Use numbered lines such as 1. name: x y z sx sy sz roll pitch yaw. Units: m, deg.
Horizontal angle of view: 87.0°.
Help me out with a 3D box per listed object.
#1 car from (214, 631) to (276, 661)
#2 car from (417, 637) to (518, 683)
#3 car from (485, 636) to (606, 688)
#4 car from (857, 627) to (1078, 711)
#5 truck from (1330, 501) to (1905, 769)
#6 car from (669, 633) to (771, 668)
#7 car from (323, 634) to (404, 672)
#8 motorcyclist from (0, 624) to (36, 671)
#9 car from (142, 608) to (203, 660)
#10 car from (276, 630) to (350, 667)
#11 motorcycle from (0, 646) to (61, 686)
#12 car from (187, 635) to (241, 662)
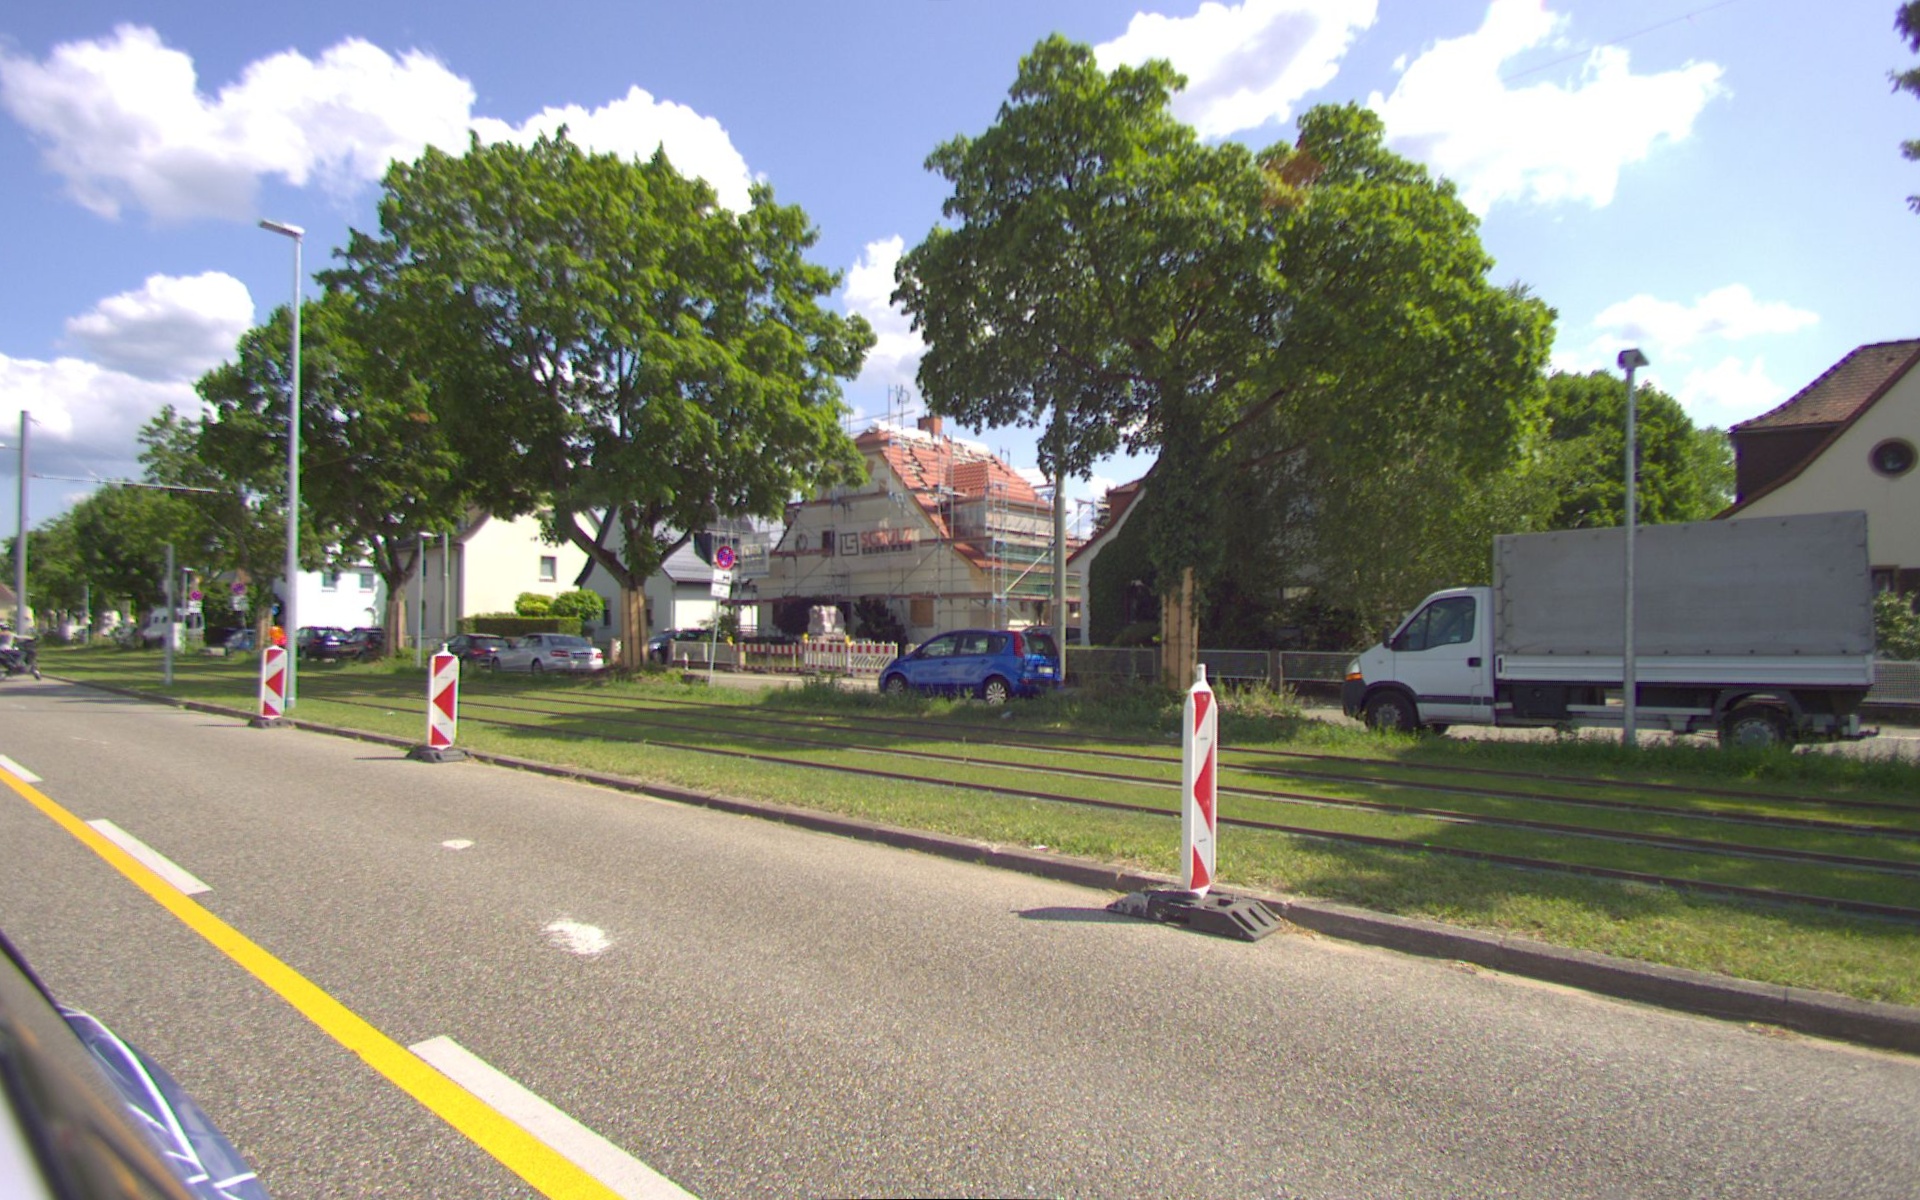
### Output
1. car: -37.491 2.433 53.047 4.403 1.497 1.680 -3 -3 41
2. car: -17.518 2.123 35.891 4.403 1.497 1.680 -3 -3 41
3. car: -13.111 1.935 31.848 4.520 1.497 1.765 -4 -3 42
4. car: 0.055 1.354 20.262 4.403 1.497 1.680 -3 -3 41
5. truck: 8.301 0.457 13.400 5.971 2.802 2.242 -2 -3 41
6. car: -10.924 2.296 46.208 1.702 1.497 4.345 -3 -3 41
7. car: -25.178 2.257 42.648 4.403 1.497 1.680 -3 -3 41
8. motorcyclist: -26.459 1.316 28.211 0.652 1.301 0.777 0 -2 9
9. car: -49.514 2.168 63.604 5.080 3.061 2.108 -3 -3 41
10. car: -29.492 2.229 46.072 4.403 1.584 1.680 -3 -3 41
11. motorcycle: -26.450 1.831 28.249 0.651 1.054 2.106 0 -2 7
12. car: -44.474 2.881 60.327 4.403 1.497 1.680 -3 -3 41
